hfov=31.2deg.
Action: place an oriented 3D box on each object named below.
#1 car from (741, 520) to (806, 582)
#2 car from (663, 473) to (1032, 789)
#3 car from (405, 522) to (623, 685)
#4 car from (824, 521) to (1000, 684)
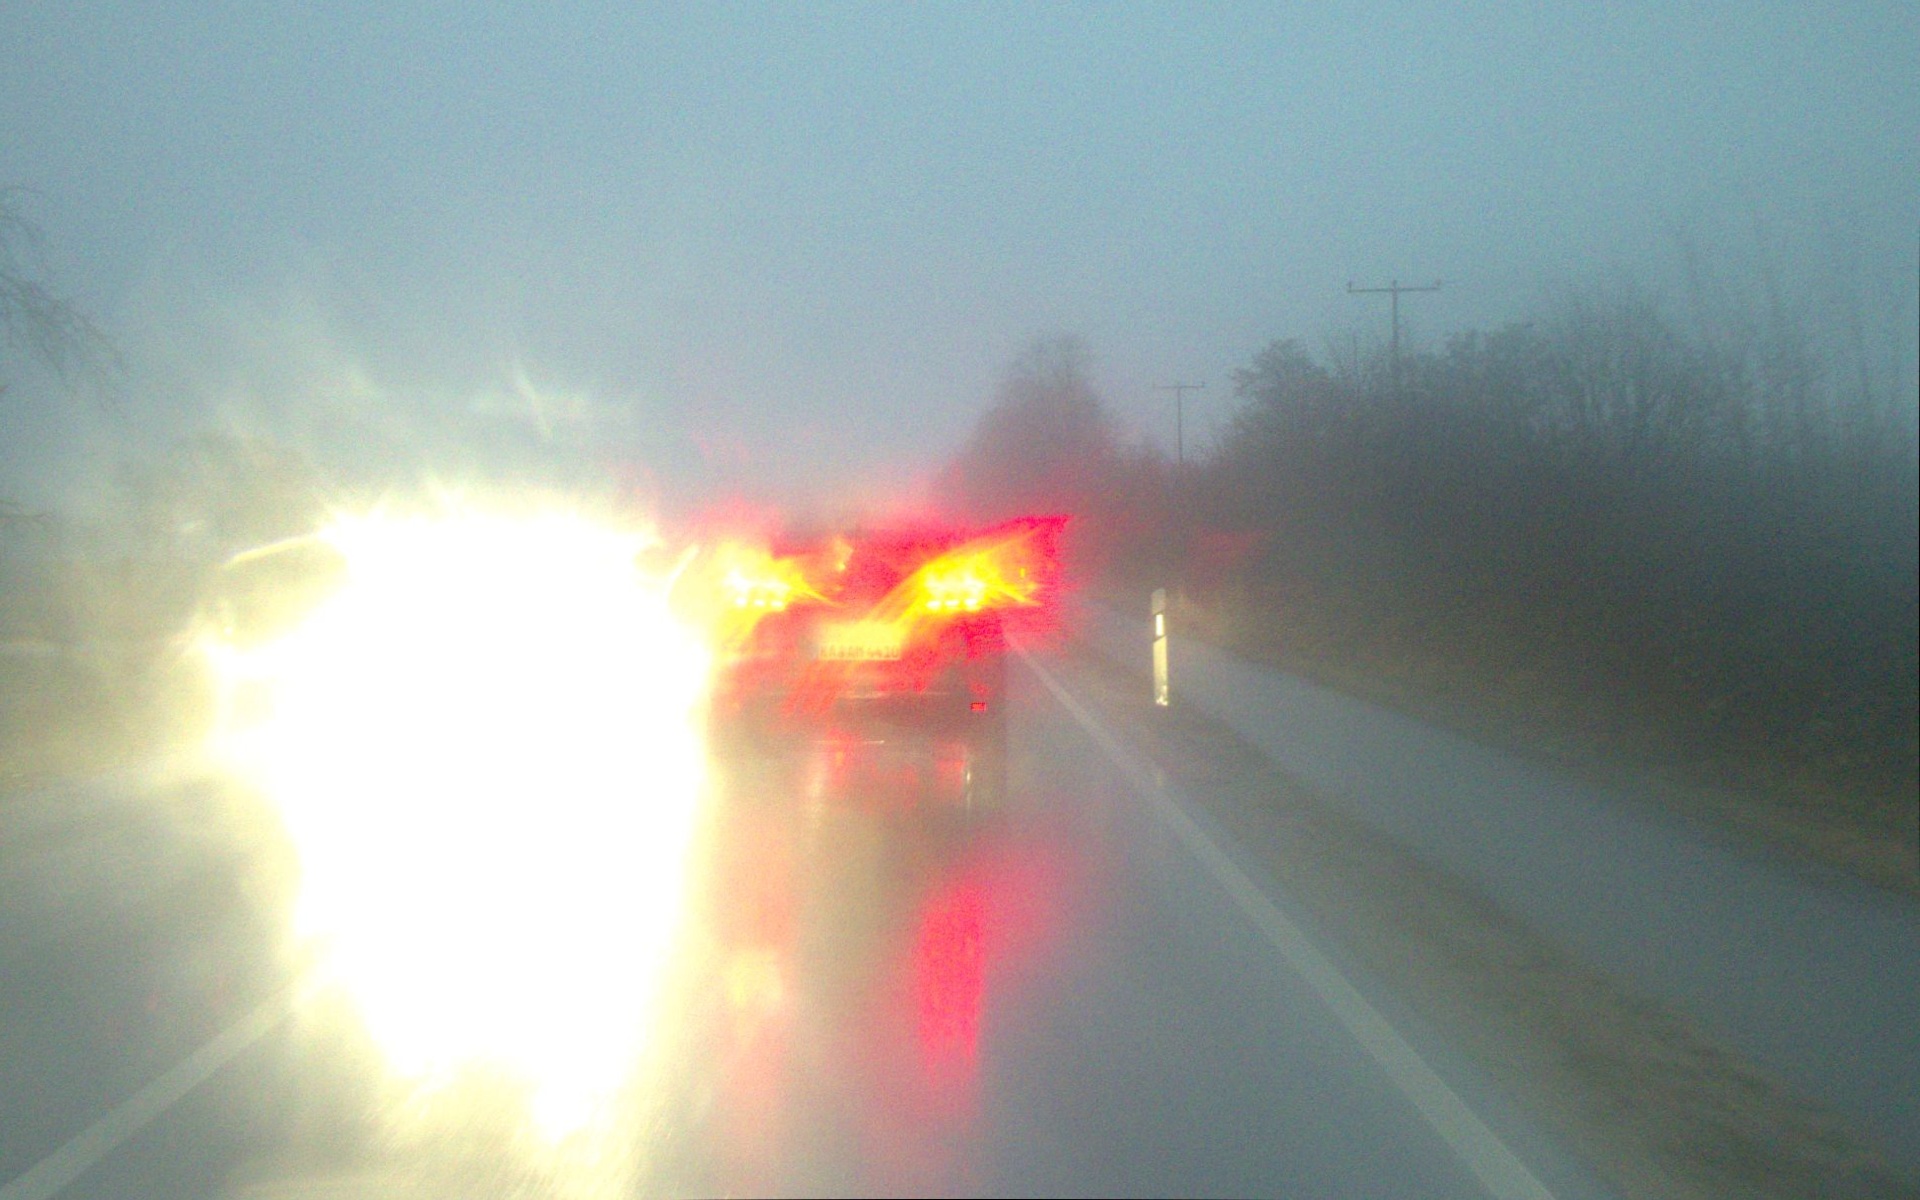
[{"bbox_3d":[-5.736,-1.521,106.010,1.824,1.800,4.495,-2,1,-1],"label":"car"},{"bbox_3d":[-0.668,0.125,22.248,2.120,1.813,4.980,0,1,0],"label":"car"},{"bbox_3d":[-4.600,-0.013,35.961,1.761,1.550,4.000,-2,2,-1],"label":"car"},{"bbox_3d":[-0.562,-0.003,41.466,1.993,1.843,4.000,1,1,0],"label":"car"}]
